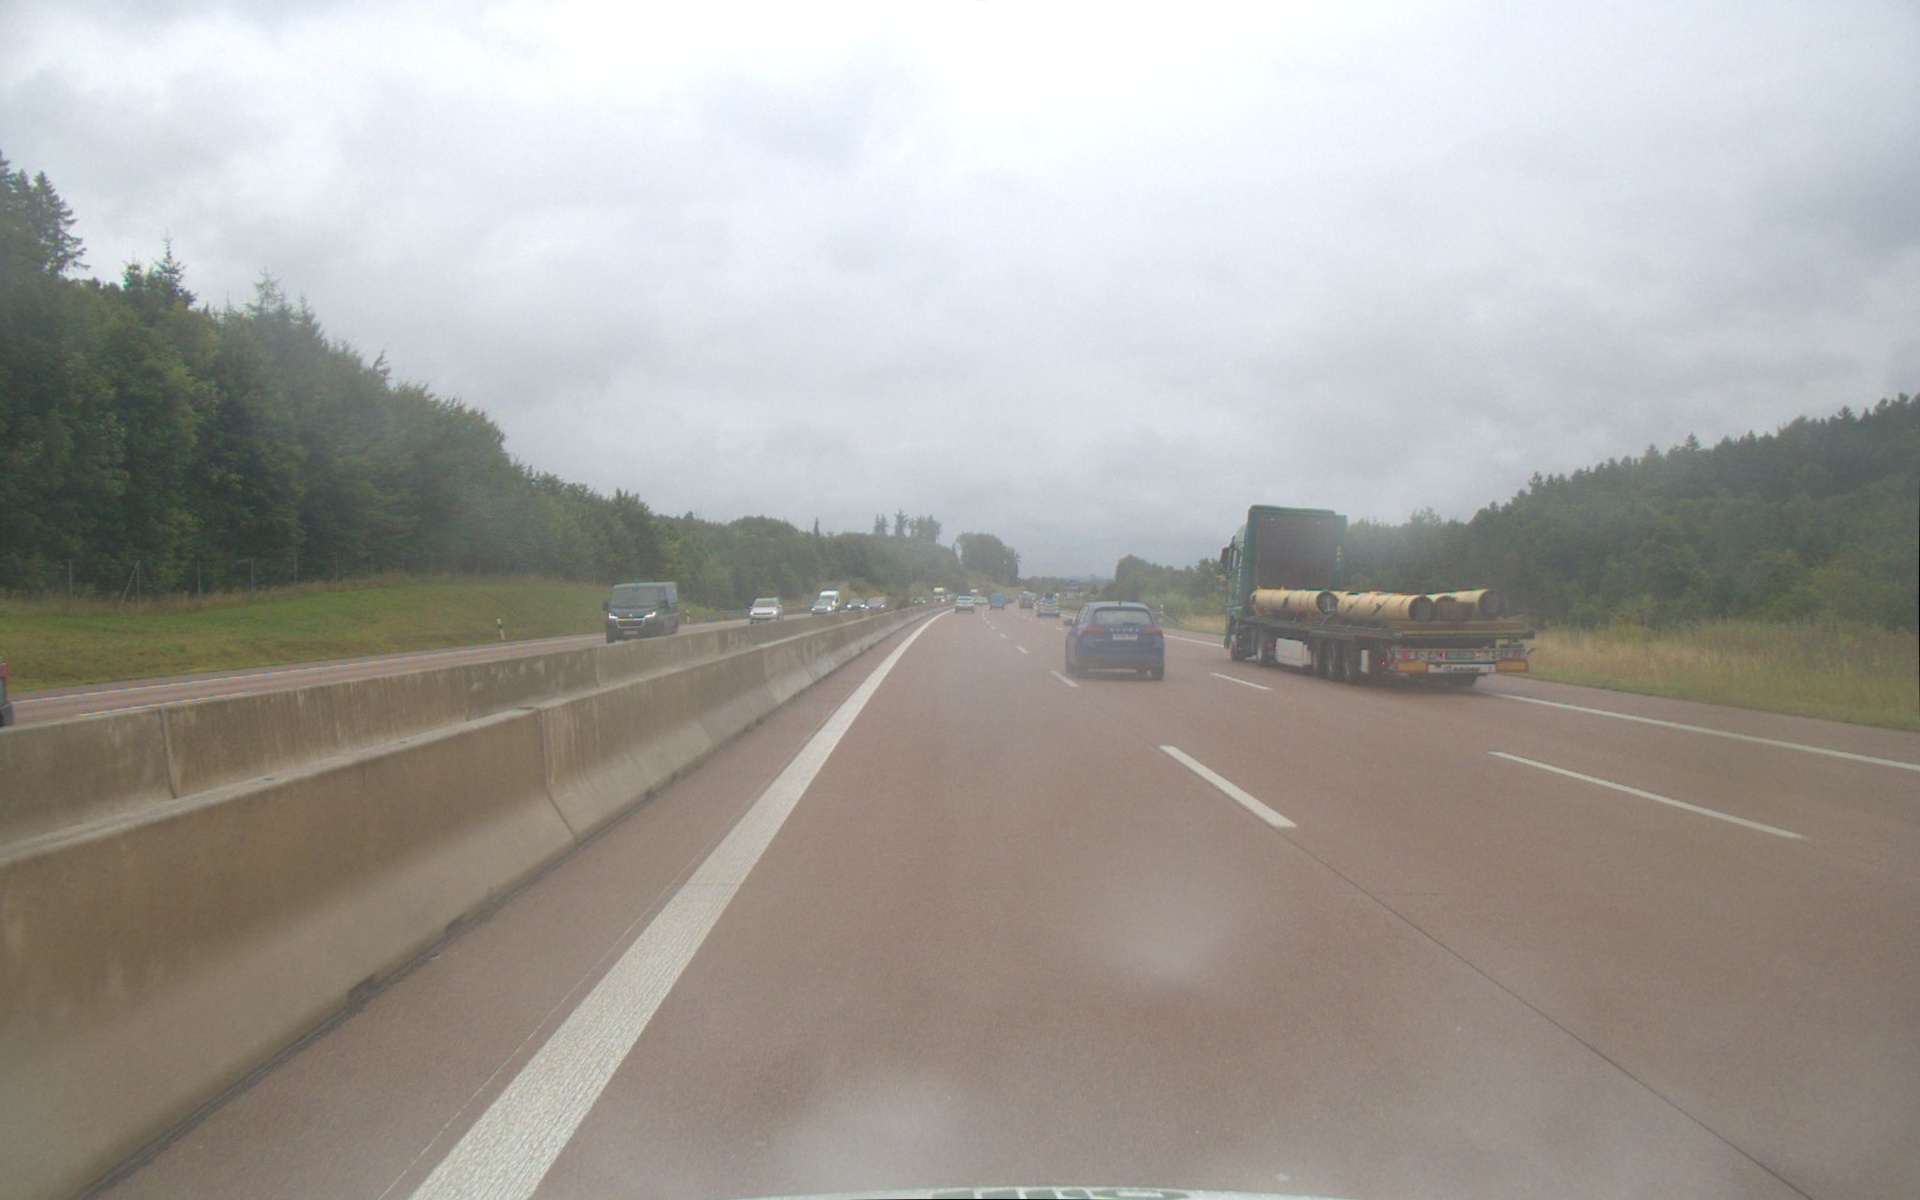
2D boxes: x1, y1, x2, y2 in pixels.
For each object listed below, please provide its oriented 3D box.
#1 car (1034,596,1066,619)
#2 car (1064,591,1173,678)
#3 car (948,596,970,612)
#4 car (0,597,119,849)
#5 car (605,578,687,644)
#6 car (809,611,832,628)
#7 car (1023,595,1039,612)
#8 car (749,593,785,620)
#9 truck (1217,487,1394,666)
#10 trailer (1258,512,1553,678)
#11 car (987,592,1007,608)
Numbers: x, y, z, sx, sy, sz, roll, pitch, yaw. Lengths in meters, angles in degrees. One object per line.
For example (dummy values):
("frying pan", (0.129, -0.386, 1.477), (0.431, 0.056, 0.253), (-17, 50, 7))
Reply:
("car", (7.403, 0.644, 136.196), (2.275, 1.780, 4.876), (1, -1, 0))
("car", (3.104, 0.679, 33.043), (1.735, 1.591, 4.146), (1, -1, 0))
("car", (-0.108, 0.394, 156.935), (1.836, 1.470, 4.874), (1, -1, -3))
("car", (-8.053, 0.887, 11.374), (1.740, 1.889, 5.321), (1, -1, 0))
("car", (-11.597, 0.438, 61.429), (2.060, 2.319, 5.394), (1, -1, -1))
("car", (-12.280, 1.705, 145.835), (1.616, 1.414, 4.809), (-3, 0, -1))
("car", (9.559, 0.477, 222.074), (1.953, 2.049, 3.999), (1, -1, -1))
("car", (-12.125, 0.405, 104.243), (1.752, 1.584, 4.865), (-2, 0, -1))
("truck", (8.441, -0.479, 41.248), (2.838, 4.034, 6.987), (1, -1, -1))
("trailer", (8.501, 0.018, 33.452), (2.822, 2.722, 11.396), (1, -1, 0))
("car", (4.489, 0.014, 201.487), (2.275, 1.780, 4.876), (1, -1, 0))
